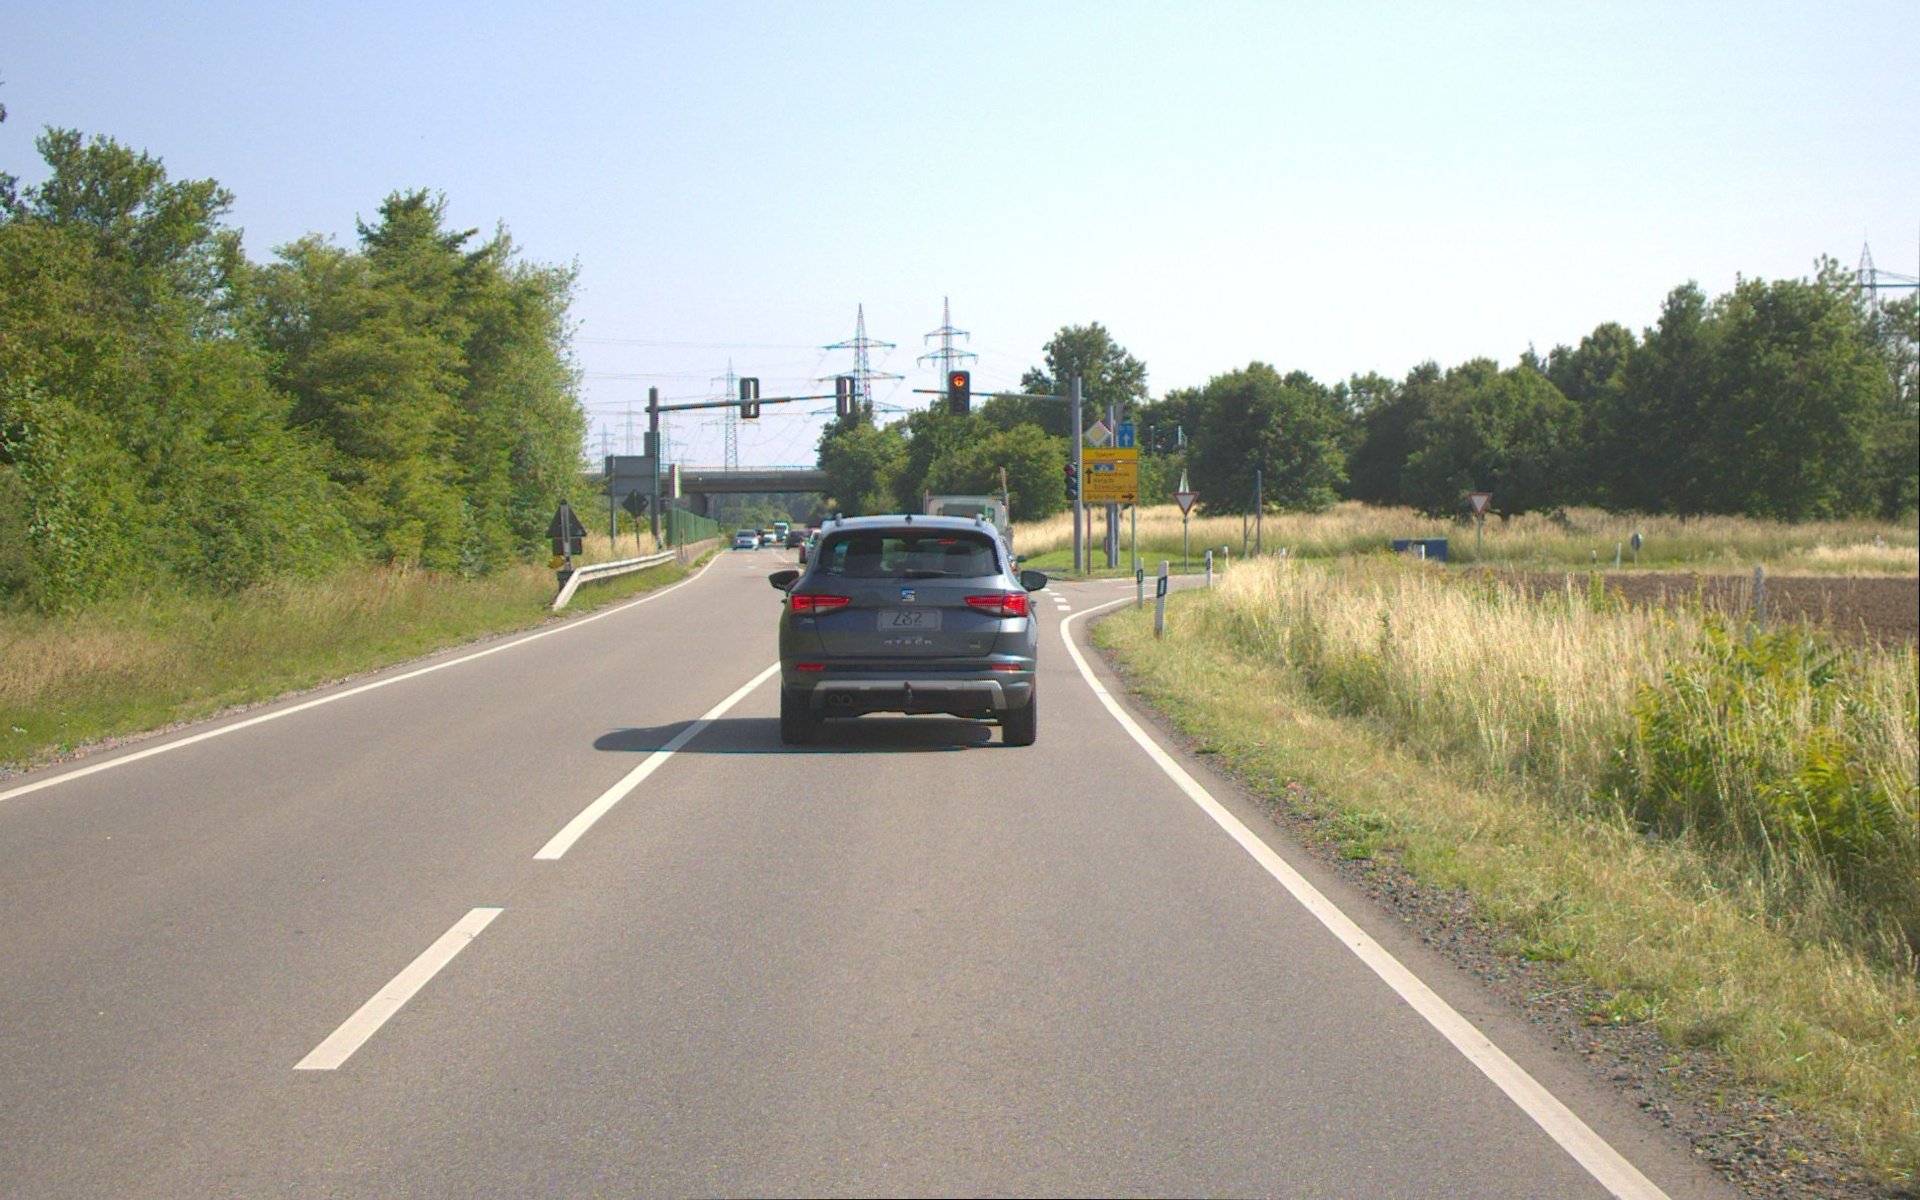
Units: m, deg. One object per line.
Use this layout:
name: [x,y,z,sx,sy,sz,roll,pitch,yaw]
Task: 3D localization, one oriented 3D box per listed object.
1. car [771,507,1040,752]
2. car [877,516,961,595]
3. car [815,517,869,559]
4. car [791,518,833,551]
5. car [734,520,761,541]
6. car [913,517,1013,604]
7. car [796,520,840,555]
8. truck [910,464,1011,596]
car: [-0.392,0.141,24.934,1.785,1.623,4.001,0,2,-1]
car: [-0.909,-0.993,75.613,1.785,1.670,4.001,0,2,-1]
car: [-4.414,-2.320,127.946,1.816,1.535,4.001,-1,2,-4]
car: [-6.382,-2.828,148.136,1.684,1.375,3.534,0,2,-4]
car: [-14.997,-4.907,242.888,1.824,1.426,4.001,-1,2,-5]
car: [0.023,-0.764,63.801,1.785,1.538,4.001,0,2,-1]
car: [-5.827,-2.579,140.739,1.684,1.375,3.534,0,2,-4]
truck: [0.022,-1.679,83.321,2.337,3.055,5.810,0,1,0]
